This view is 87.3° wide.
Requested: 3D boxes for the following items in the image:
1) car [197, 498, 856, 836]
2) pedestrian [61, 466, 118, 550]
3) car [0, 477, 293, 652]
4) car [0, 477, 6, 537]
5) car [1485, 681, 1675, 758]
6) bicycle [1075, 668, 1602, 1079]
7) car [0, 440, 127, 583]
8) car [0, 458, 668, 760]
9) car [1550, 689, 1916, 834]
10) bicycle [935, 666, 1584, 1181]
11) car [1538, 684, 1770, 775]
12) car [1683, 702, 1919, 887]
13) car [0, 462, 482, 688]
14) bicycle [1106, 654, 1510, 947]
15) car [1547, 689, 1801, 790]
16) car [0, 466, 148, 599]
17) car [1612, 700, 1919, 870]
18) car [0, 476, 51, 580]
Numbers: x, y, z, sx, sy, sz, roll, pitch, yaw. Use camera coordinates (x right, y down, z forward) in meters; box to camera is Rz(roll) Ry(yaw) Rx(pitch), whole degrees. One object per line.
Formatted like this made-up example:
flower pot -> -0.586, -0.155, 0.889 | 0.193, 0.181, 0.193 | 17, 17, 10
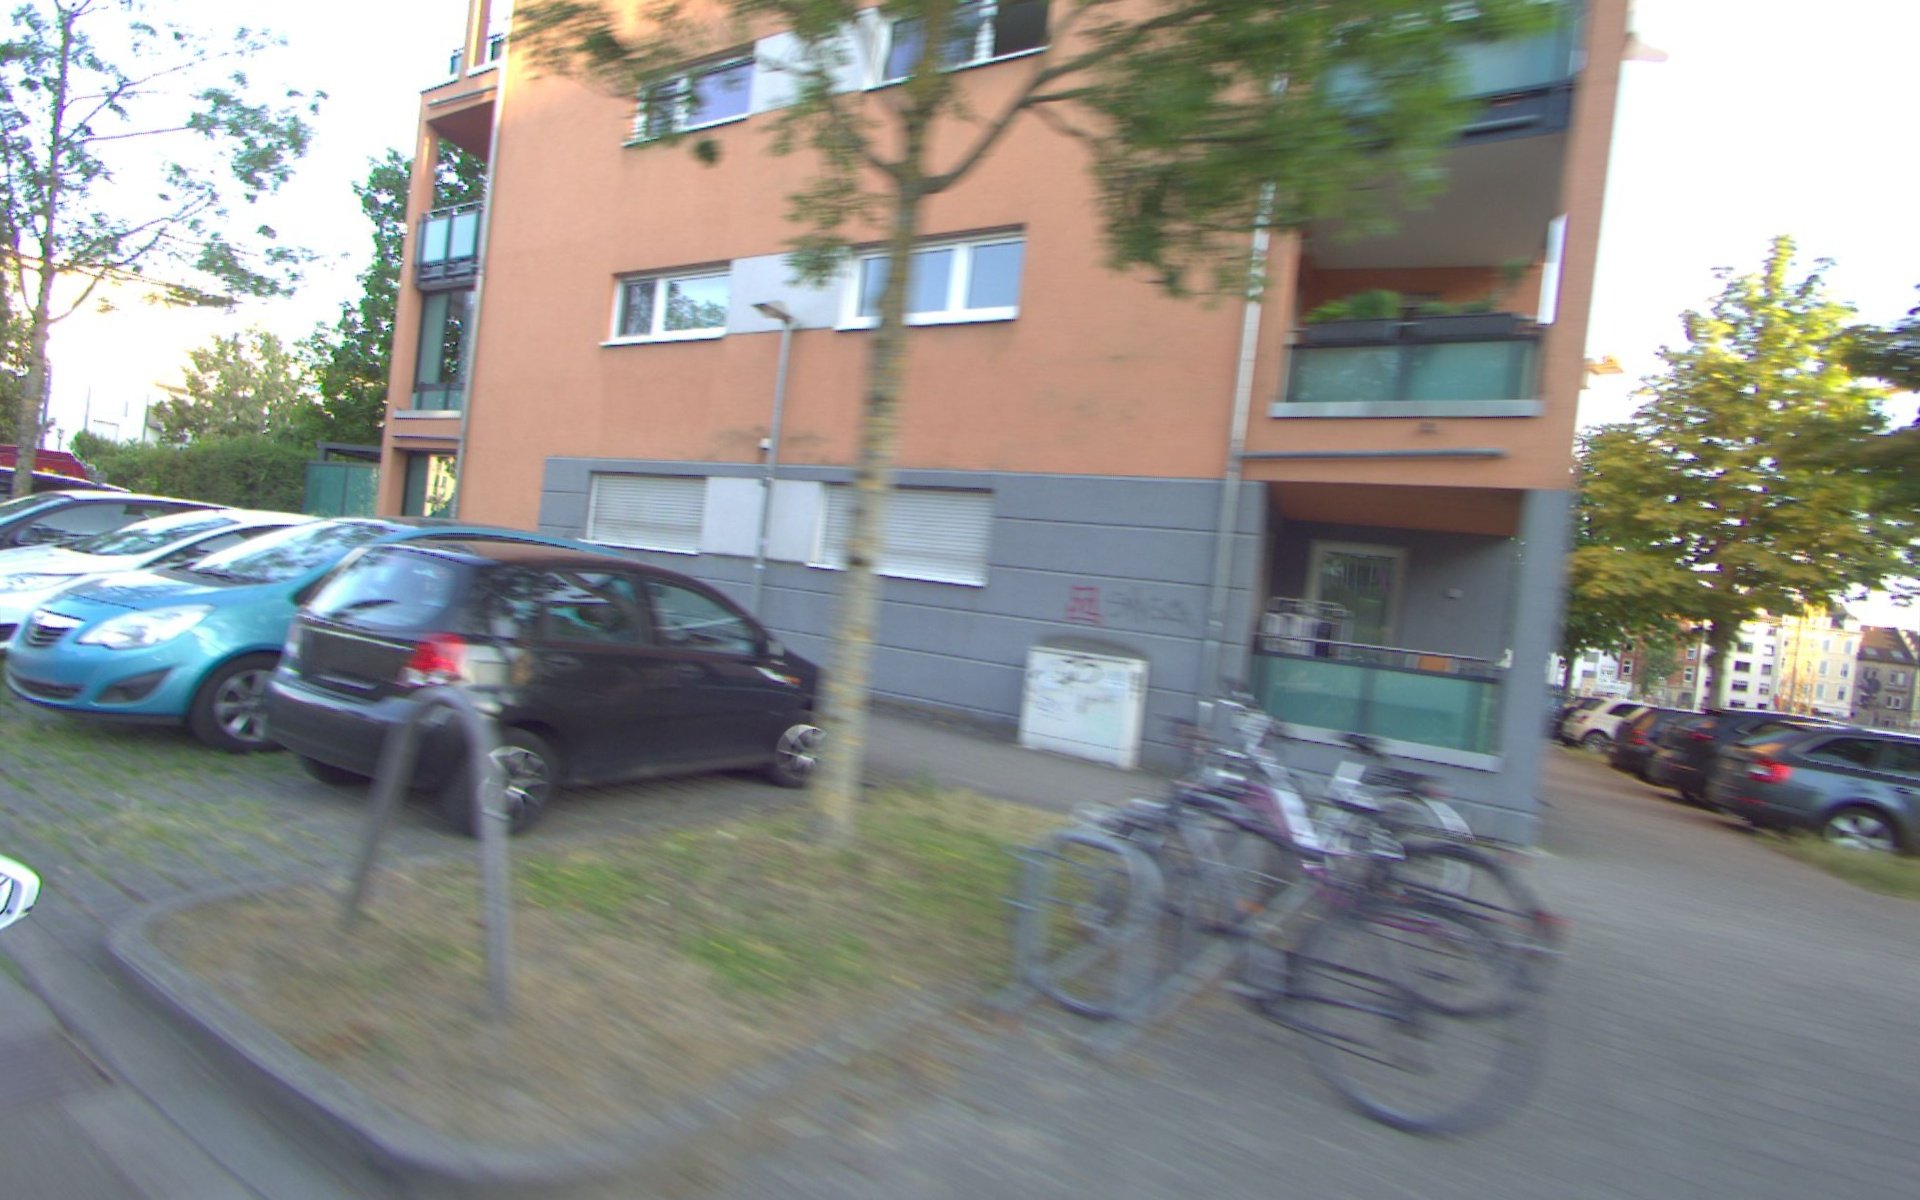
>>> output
car -> -2.477, 0.407, 6.713 | 1.585, 1.491, 3.757 | 7, -1, 28
pedestrian -> -19.462, -2.057, 22.501 | 0.688, 1.765, 0.669 | 7, 1, 33
car -> -9.081, -0.395, 9.930 | 1.514, 1.513, 3.778 | 7, 0, 32
car -> -19.164, -1.670, 16.552 | 1.782, 1.576, 4.673 | 7, 0, 33
car -> 19.559, 3.721, 32.014 | 4.726, 1.614, 1.999 | 7, 0, 21
bicycle -> 1.569, 1.036, 4.370 | 1.895, 1.168, 0.679 | 9, 3, 31
car -> -16.679, -1.638, 15.919 | 1.984, 2.143, 4.923 | 7, 0, 34
car -> -4.391, 0.087, 7.525 | 1.645, 1.589, 4.051 | 7, 1, 33
car -> 13.601, 2.776, 18.148 | 4.728, 1.614, 1.999 | 7, 0, 24
bicycle -> 0.971, 0.979, 3.563 | 1.863, 1.168, 0.718 | 9, 3, 22
car -> 18.788, 3.475, 27.523 | 4.726, 1.614, 1.999 | 7, 0, 21
car -> 10.988, 2.279, 10.838 | 4.728, 1.613, 2.000 | 7, -1, 24
car -> -6.619, -0.131, 8.980 | 1.593, 1.588, 3.881 | 7, 0, 33
bicycle -> 1.891, 1.032, 5.627 | 1.929, 1.140, 0.530 | 9, 0, 31
car -> 17.784, 3.432, 25.387 | 4.726, 1.614, 1.999 | 7, 0, 21
car -> -13.000, -0.983, 12.437 | 1.763, 1.589, 4.216 | 7, 2, 33
car -> 11.813, 2.520, 13.500 | 4.728, 1.614, 1.999 | 7, 0, 24
car -> -15.284, -1.193, 14.043 | 1.589, 1.484, 3.526 | 7, 2, 33
